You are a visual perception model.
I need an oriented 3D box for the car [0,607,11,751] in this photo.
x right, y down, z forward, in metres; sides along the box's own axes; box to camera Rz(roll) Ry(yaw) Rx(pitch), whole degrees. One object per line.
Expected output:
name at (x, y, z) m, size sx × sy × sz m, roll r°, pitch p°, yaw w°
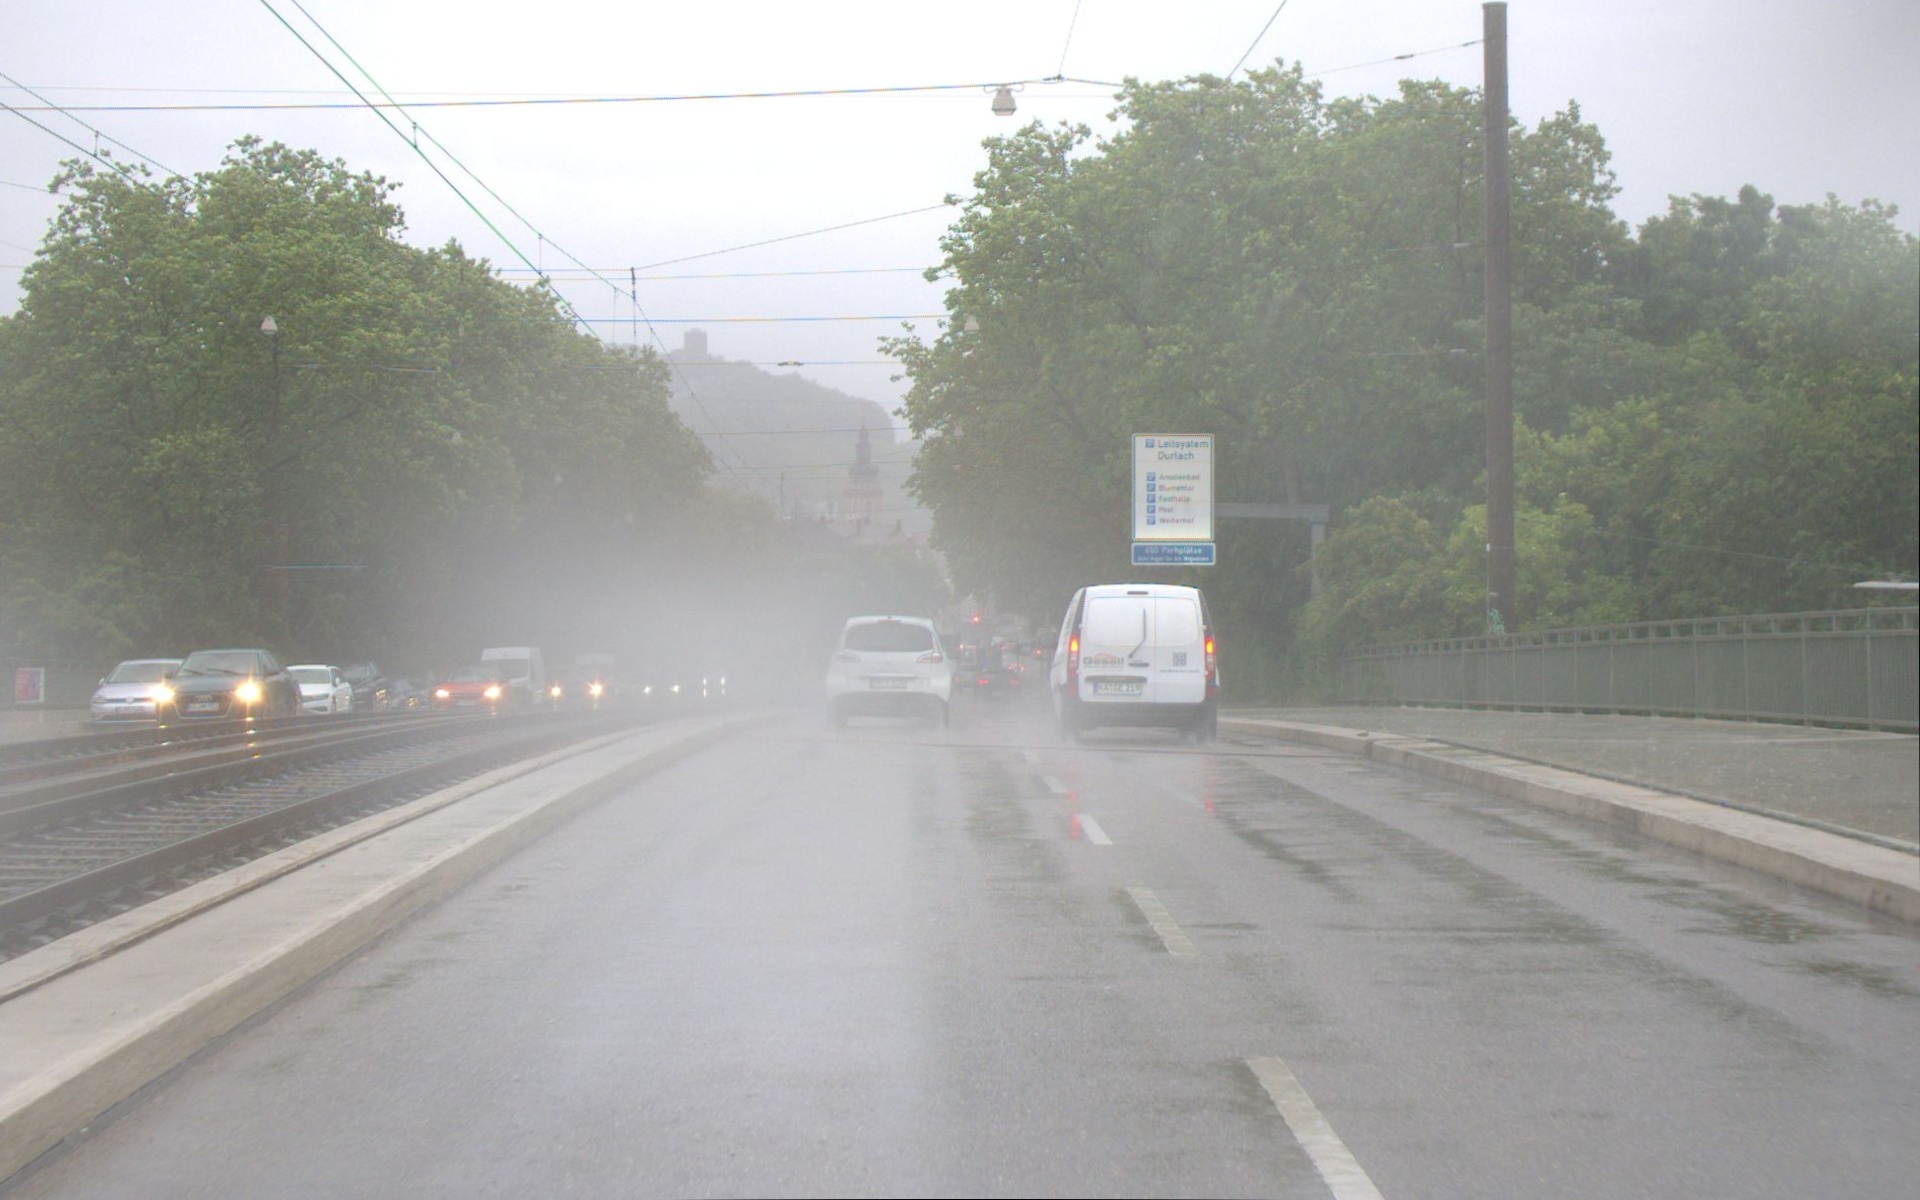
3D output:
car at (-11.887, 0.877, 37.732) m, size 1.818 × 1.649 × 4.000 m, roll 1°, pitch 0°, yaw 0°

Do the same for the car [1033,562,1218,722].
car at (1.864, 0.471, 39.712) m, size 1.993 × 1.720 × 4.000 m, roll 1°, pitch 0°, yaw 1°

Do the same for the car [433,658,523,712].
car at (-12.619, 2.217, 90.186) m, size 1.799 × 1.311 × 4.083 m, roll 1°, pitch 0°, yaw 0°

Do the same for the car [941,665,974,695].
car at (-0.143, 5.026, 216.536) m, size 1.993 × 1.820 × 4.000 m, roll 1°, pitch 0°, yaw 1°

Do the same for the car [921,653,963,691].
car at (-0.927, 3.700, 176.718) m, size 1.993 × 1.820 × 4.000 m, roll 1°, pitch 0°, yaw 1°

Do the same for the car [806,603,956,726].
car at (-1.119, 0.927, 50.785) m, size 1.993 × 1.711 × 4.000 m, roll 1°, pitch 0°, yaw 1°

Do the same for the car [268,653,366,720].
car at (-15.826, 2.113, 84.784) m, size 1.506 × 1.396 × 4.894 m, roll -5°, pitch 0°, yaw -2°

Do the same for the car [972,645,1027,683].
car at (1.512, 2.403, 129.229) m, size 1.993 × 1.317 × 4.000 m, roll 1°, pitch 0°, yaw 1°

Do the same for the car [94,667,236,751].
car at (-15.649, 2.125, 67.854) m, size 1.863 × 1.451 × 4.320 m, roll -2°, pitch 0°, yaw -2°

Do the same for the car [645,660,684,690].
car at (-14.896, 3.769, 173.304) m, size 1.506 × 1.396 × 4.707 m, roll -2°, pitch 0°, yaw 0°

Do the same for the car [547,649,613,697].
car at (-13.174, 2.514, 119.369) m, size 1.816 × 1.363 × 4.265 m, roll 1°, pitch 3°, yaw 0°

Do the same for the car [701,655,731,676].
car at (-17.419, 4.668, 245.739) m, size 1.805 × 1.345 × 4.264 m, roll -2°, pitch 0°, yaw -1°

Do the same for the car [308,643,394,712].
car at (-16.016, 2.024, 90.640) m, size 1.505 × 1.666 × 4.834 m, roll -2°, pitch 0°, yaw -2°

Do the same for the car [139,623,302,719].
car at (-12.151, 1.138, 56.746) m, size 1.799 × 1.477 × 4.083 m, roll 1°, pitch 0°, yaw 0°
